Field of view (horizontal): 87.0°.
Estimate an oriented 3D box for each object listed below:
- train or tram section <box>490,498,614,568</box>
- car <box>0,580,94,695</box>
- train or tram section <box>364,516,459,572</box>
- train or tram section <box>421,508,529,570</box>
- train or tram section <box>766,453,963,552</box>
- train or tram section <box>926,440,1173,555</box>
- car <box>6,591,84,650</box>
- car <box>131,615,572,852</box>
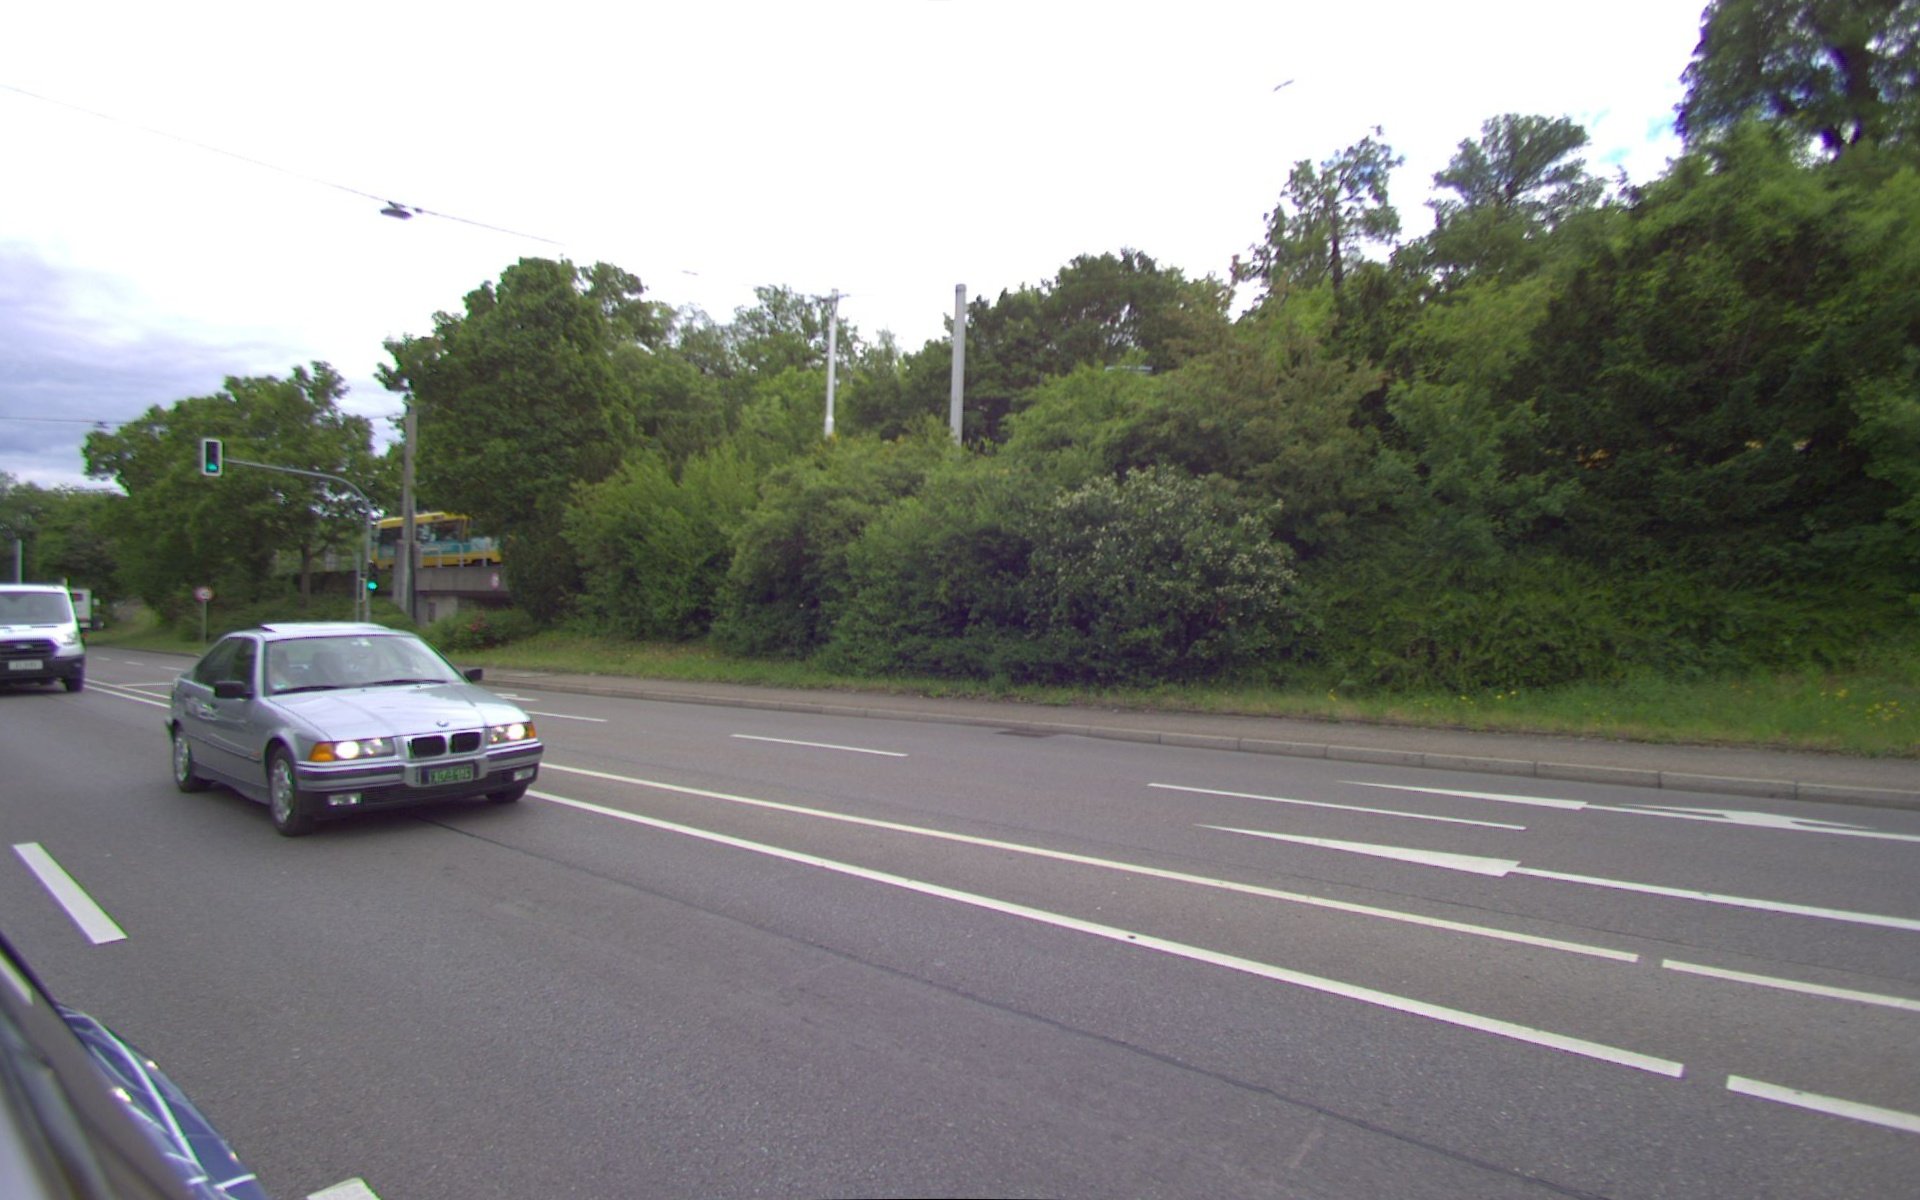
[{"bbox_3d":[-20.306,-3.189,50.058,8.144,3.066,2.037,0,1,39],"label":"train or tram section"},{"bbox_3d":[-20.226,0.741,21.102,6.663,2.142,2.225,-1,-1,40],"label":"car"},{"bbox_3d":[-32.868,-3.263,60.506,8.144,3.066,2.037,0,1,39],"label":"train or tram section"},{"bbox_3d":[-26.584,-3.215,55.280,8.144,3.066,2.037,0,1,39],"label":"train or tram section"},{"bbox_3d":[-3.726,-3.455,37.547,8.142,3.066,2.037,0,1,39],"label":"train or tram section"},{"bbox_3d":[2.666,-3.096,32.456,8.142,3.066,2.037,0,1,39],"label":"train or tram section"},{"bbox_3d":[-50.923,1.107,56.254,7.230,3.079,2.247,-1,-1,40],"label":"car"},{"bbox_3d":[-5.117,0.840,8.210,4.612,1.404,1.734,-1,-2,41],"label":"car"}]
